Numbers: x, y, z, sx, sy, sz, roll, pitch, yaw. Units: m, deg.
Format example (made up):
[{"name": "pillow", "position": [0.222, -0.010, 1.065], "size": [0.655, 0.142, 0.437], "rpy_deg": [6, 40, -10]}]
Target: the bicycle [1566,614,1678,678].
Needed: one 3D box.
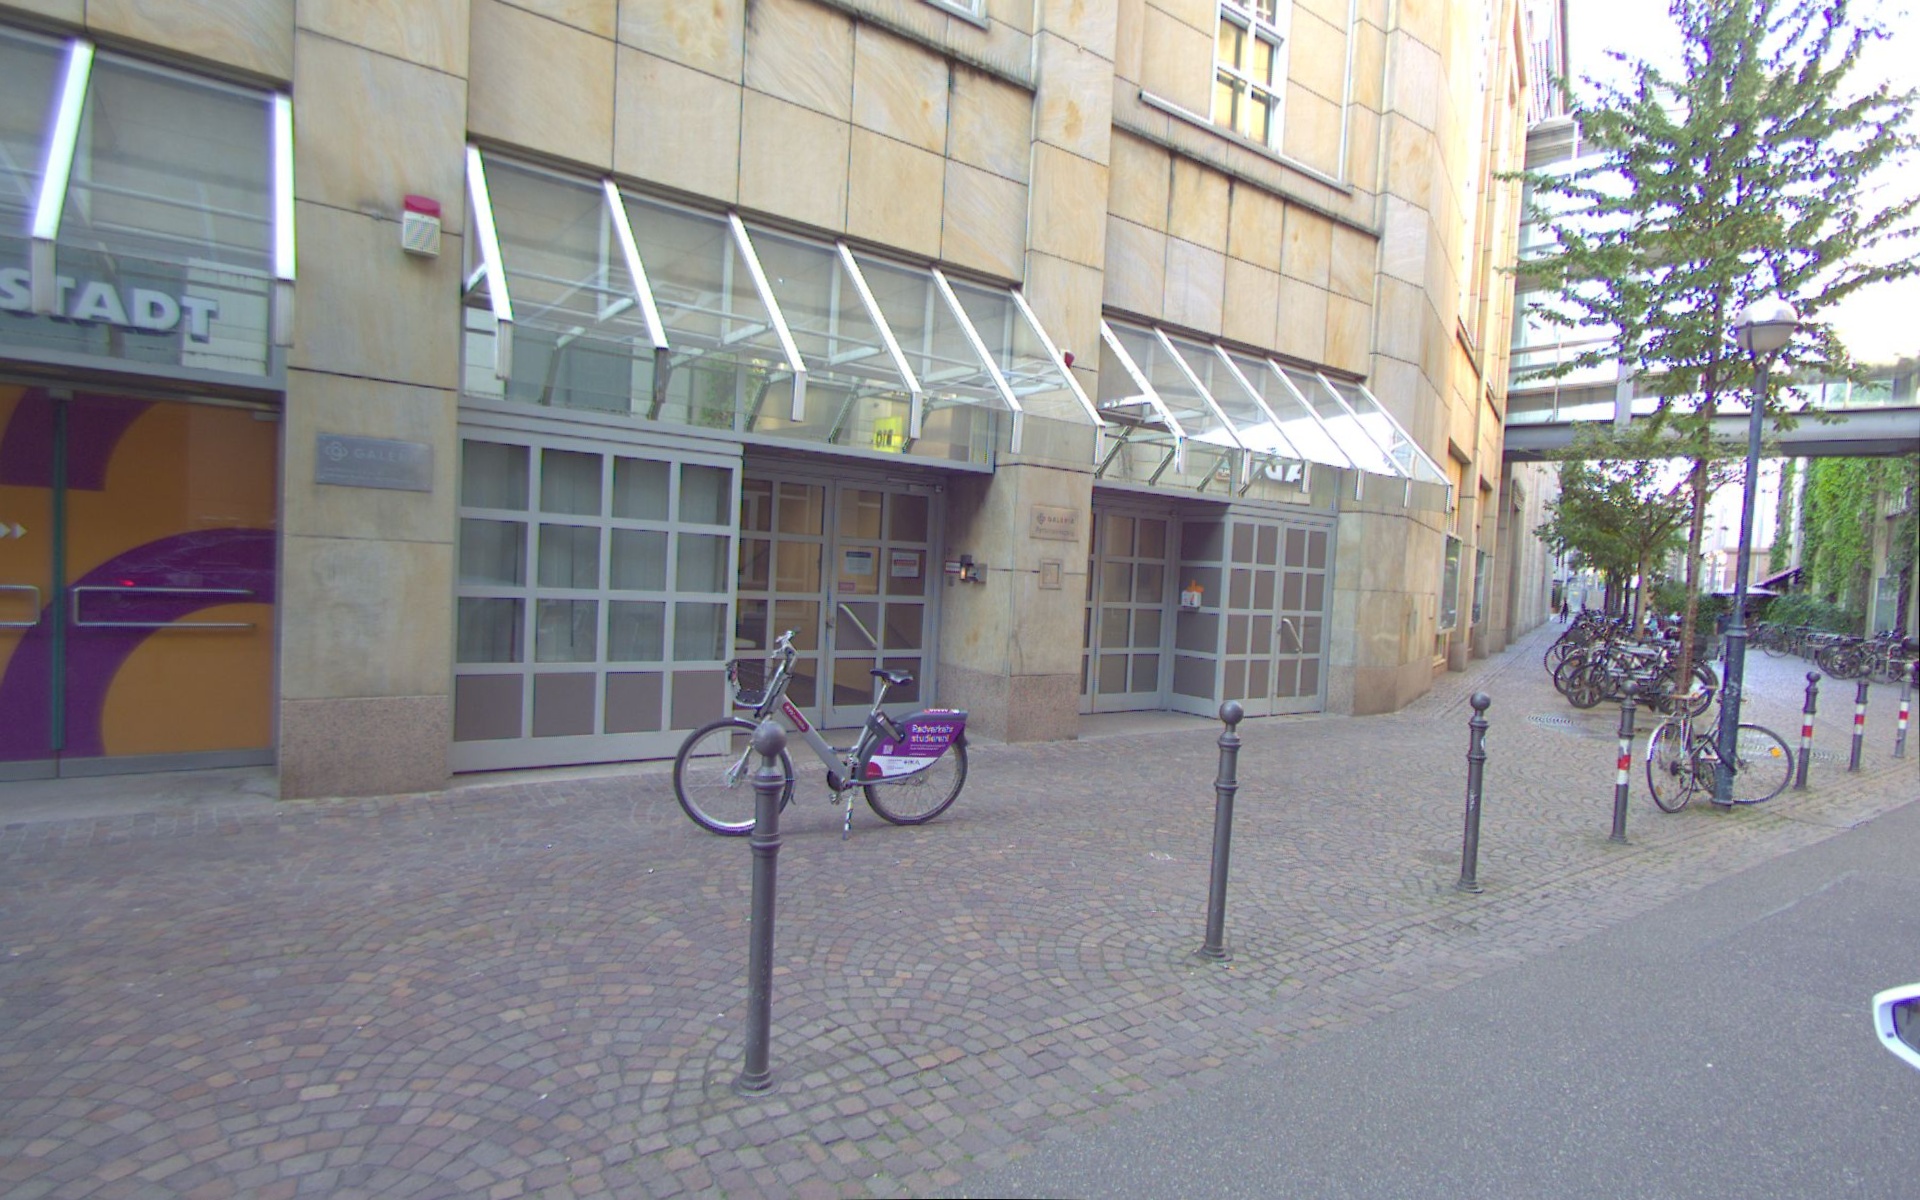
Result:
[{"name": "bicycle", "position": [14.010, 0.944, 21.280], "size": [1.889, 1.198, 0.693], "rpy_deg": [4, 2, 37]}]

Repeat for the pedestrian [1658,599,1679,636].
[{"name": "pedestrian", "position": [36.164, 0.888, 51.260], "size": [0.754, 1.828, 0.775], "rpy_deg": [3, 2, 32]}]

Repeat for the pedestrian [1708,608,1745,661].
[{"name": "pedestrian", "position": [23.007, 1.009, 30.154], "size": [0.737, 1.529, 0.636], "rpy_deg": [3, 2, 32]}]

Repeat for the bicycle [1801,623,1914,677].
[{"name": "bicycle", "position": [22.047, 1.200, 24.733], "size": [1.967, 1.198, 0.800], "rpy_deg": [2, 1, 35]}]

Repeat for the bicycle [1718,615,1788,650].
[{"name": "bicycle", "position": [29.570, 1.196, 37.477], "size": [1.967, 1.198, 0.692], "rpy_deg": [2, 1, 35]}]

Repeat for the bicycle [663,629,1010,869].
[{"name": "bicycle", "position": [-0.681, 0.762, 5.525], "size": [1.750, 1.127, 0.692], "rpy_deg": [2, 2, -22]}]

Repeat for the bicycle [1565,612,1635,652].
[{"name": "bicycle", "position": [21.692, 1.063, 34.073], "size": [1.889, 1.198, 0.693], "rpy_deg": [4, 2, 37]}]

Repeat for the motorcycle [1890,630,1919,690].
[{"name": "motorcycle", "position": [19.832, 1.232, 20.081], "size": [1.724, 1.171, 0.592], "rpy_deg": [2, 1, 38]}]

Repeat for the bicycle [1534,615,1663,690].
[{"name": "bicycle", "position": [11.625, 0.928, 18.326], "size": [1.889, 1.198, 0.693], "rpy_deg": [4, 2, 37]}]

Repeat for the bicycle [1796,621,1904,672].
[{"name": "bicycle", "position": [22.945, 1.184, 25.954], "size": [1.967, 1.198, 0.800], "rpy_deg": [2, 1, 35]}]

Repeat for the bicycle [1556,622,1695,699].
[{"name": "bicycle", "position": [11.353, 1.005, 17.170], "size": [1.889, 1.116, 0.693], "rpy_deg": [4, 2, 37]}]

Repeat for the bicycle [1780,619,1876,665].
[{"name": "bicycle", "position": [24.765, 1.180, 28.700], "size": [1.967, 1.198, 0.692], "rpy_deg": [2, 1, 35]}]

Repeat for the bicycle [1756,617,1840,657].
[{"name": "bicycle", "position": [26.617, 1.160, 31.959], "size": [1.967, 1.198, 0.692], "rpy_deg": [2, 1, 35]}]

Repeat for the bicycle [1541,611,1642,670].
[{"name": "bicycle", "position": [14.681, 0.921, 23.377], "size": [1.889, 1.198, 0.693], "rpy_deg": [4, 2, 37]}]

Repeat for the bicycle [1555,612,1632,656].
[{"name": "bicycle", "position": [19.501, 1.036, 30.928], "size": [1.889, 1.198, 0.693], "rpy_deg": [4, 2, 37]}]

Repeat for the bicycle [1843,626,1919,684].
[{"name": "bicycle", "position": [20.600, 1.199, 21.861], "size": [1.967, 1.198, 0.694], "rpy_deg": [2, 1, 35]}]

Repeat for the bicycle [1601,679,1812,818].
[{"name": "bicycle", "position": [5.921, 1.140, 7.960], "size": [1.670, 0.979, 0.504], "rpy_deg": [2, 2, -22]}]

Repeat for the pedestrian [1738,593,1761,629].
[{"name": "pedestrian", "position": [41.256, 0.549, 52.481], "size": [0.763, 1.828, 0.766], "rpy_deg": [3, 2, 32]}]

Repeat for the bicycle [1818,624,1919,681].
[{"name": "bicycle", "position": [20.909, 1.182, 22.892], "size": [1.967, 1.198, 0.694], "rpy_deg": [2, 1, 35]}]

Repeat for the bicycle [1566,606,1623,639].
[{"name": "bicycle", "position": [26.088, 0.914, 41.323], "size": [1.889, 1.198, 0.693], "rpy_deg": [4, 2, 37]}]

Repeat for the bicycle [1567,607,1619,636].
[{"name": "bicycle", "position": [28.375, 0.944, 45.050], "size": [1.889, 1.198, 0.693], "rpy_deg": [4, 2, 37]}]

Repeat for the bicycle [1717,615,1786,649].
[{"name": "bicycle", "position": [30.053, 1.185, 38.182], "size": [1.967, 1.198, 0.692], "rpy_deg": [2, 1, 35]}]

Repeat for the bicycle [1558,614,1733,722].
[{"name": "bicycle", "position": [9.422, 0.890, 13.880], "size": [1.887, 1.278, 0.806], "rpy_deg": [4, 2, 34]}]

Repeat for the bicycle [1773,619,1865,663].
[{"name": "bicycle", "position": [25.357, 1.204, 29.701], "size": [1.967, 1.198, 0.692], "rpy_deg": [2, 1, 35]}]

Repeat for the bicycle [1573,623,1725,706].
[{"name": "bicycle", "position": [10.839, 0.991, 15.869], "size": [1.887, 1.116, 0.694], "rpy_deg": [4, 2, 34]}]

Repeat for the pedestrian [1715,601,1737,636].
[{"name": "pedestrian", "position": [40.531, 0.963, 53.161], "size": [0.763, 1.828, 0.766], "rpy_deg": [3, 2, 32]}]

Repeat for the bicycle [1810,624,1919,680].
[{"name": "bicycle", "position": [21.410, 1.207, 23.692], "size": [1.967, 1.198, 0.800], "rpy_deg": [2, 1, 35]}]

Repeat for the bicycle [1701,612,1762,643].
[{"name": "bicycle", "position": [32.517, 1.156, 42.382], "size": [1.967, 1.198, 0.692], "rpy_deg": [2, 1, 35]}]

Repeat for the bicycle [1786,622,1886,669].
[{"name": "bicycle", "position": [23.999, 1.229, 27.579], "size": [1.967, 1.198, 0.692], "rpy_deg": [2, 1, 35]}]

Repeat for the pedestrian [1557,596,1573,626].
[{"name": "pedestrian", "position": [37.544, 0.692, 62.350], "size": [0.763, 1.828, 0.632], "rpy_deg": [3, 2, 32]}]

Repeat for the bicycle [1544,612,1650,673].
[{"name": "bicycle", "position": [14.198, 0.930, 22.407], "size": [1.889, 1.198, 0.693], "rpy_deg": [4, 2, 37]}]

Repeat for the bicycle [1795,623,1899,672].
[{"name": "bicycle", "position": [23.576, 1.248, 26.753], "size": [1.967, 1.198, 0.692], "rpy_deg": [2, 1, 35]}]

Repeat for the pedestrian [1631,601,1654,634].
[{"name": "pedestrian", "position": [35.431, 0.900, 52.171], "size": [0.879, 1.661, 0.909], "rpy_deg": [3, 2, 32]}]

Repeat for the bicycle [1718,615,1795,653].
[{"name": "bicycle", "position": [27.097, 1.150, 34.208], "size": [1.967, 1.198, 0.692], "rpy_deg": [2, 1, 35]}]

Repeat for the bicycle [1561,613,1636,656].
[{"name": "bicycle", "position": [20.133, 1.076, 31.685], "size": [1.889, 1.198, 0.693], "rpy_deg": [4, 2, 37]}]

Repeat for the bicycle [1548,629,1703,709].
[{"name": "bicycle", "position": [10.108, 1.020, 15.325], "size": [1.887, 1.007, 0.694], "rpy_deg": [4, 2, 34]}]

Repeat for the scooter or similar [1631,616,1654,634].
[{"name": "scooter or similar", "position": [34.929, 1.289, 51.404], "size": [0.879, 0.854, 0.909], "rpy_deg": [3, 2, 32]}]

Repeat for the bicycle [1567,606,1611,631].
[{"name": "bicycle", "position": [33.717, 0.988, 53.874], "size": [1.889, 1.198, 0.693], "rpy_deg": [4, 2, 37]}]
